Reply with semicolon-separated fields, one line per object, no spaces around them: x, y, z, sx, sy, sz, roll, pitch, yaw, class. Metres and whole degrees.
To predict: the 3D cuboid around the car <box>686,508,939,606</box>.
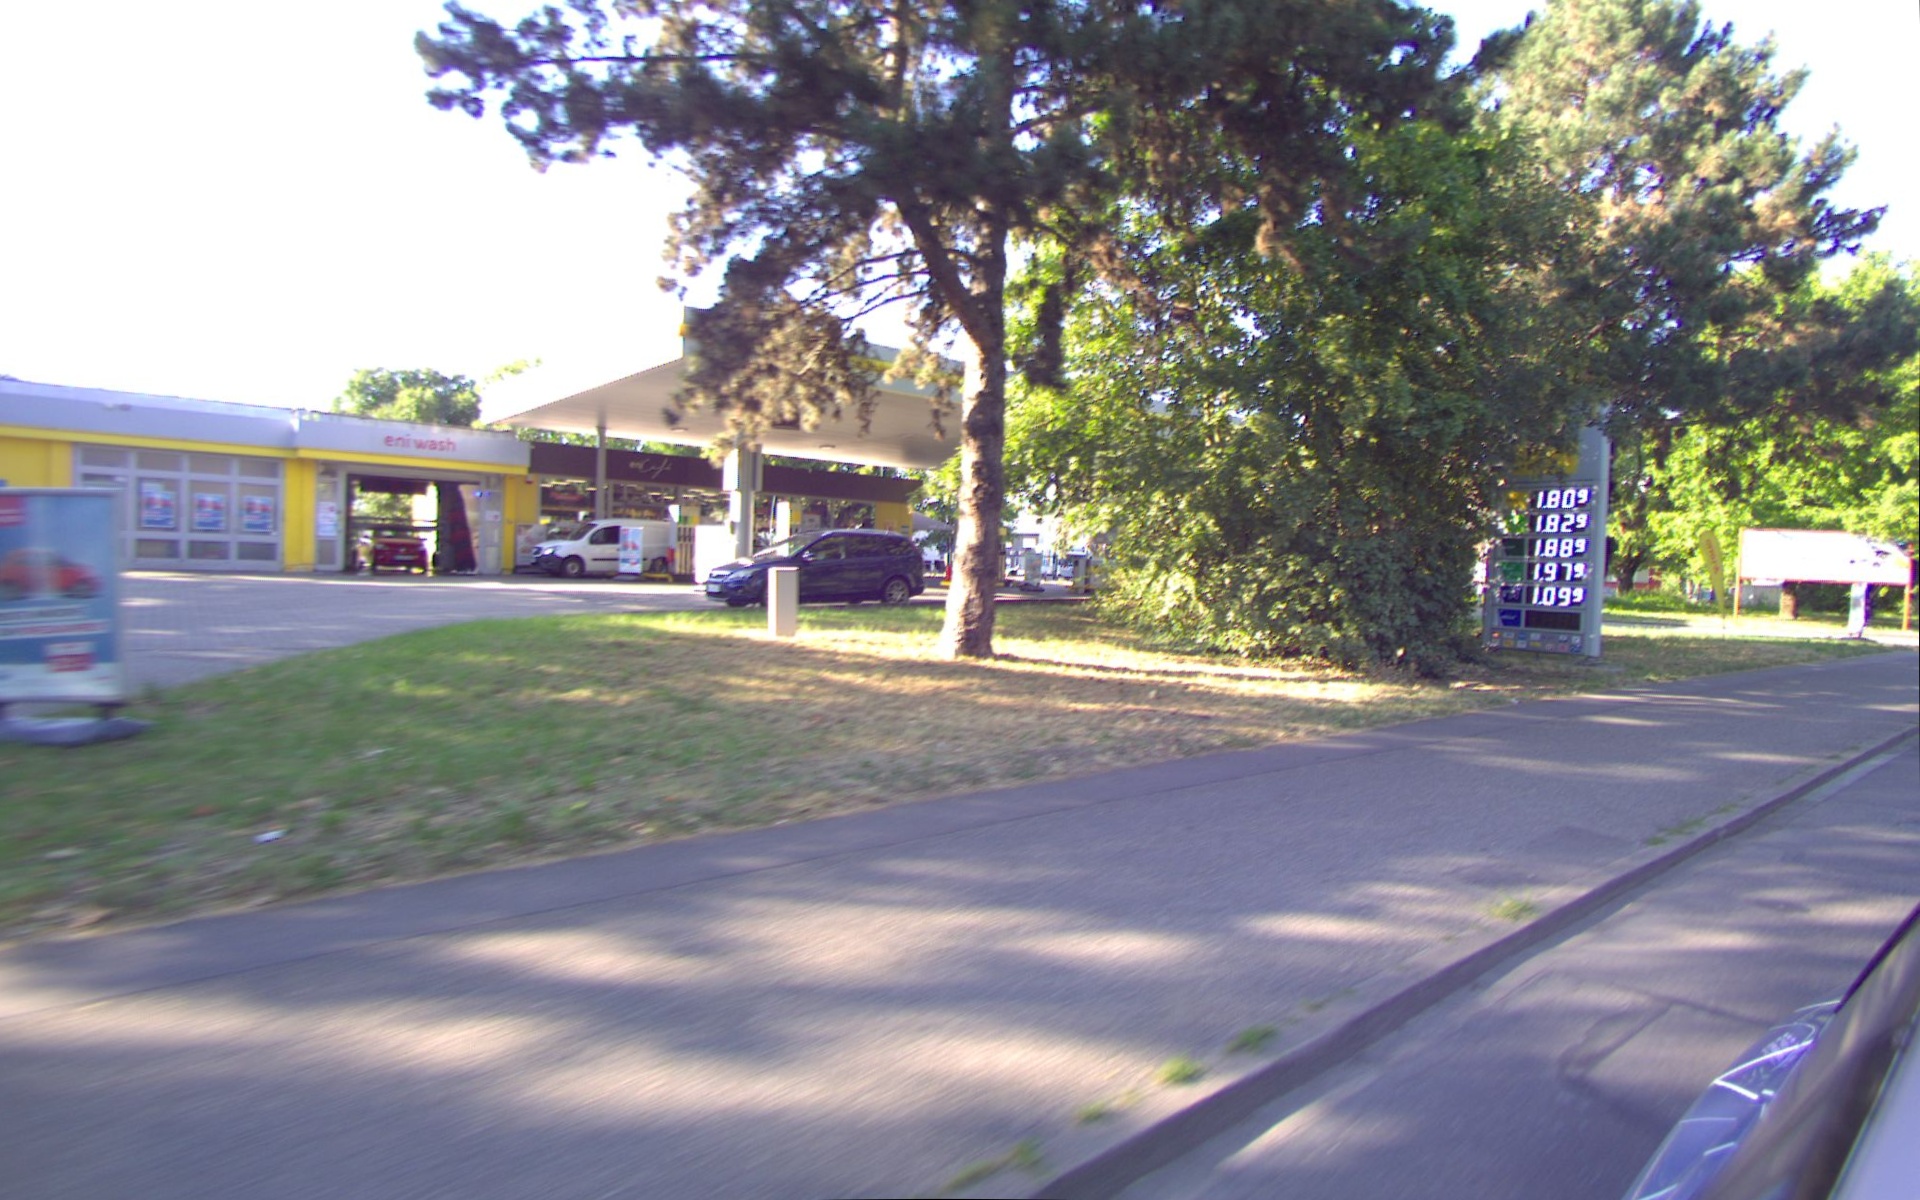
-2.733;-0.777;19.306;4.395;1.667;1.929;0;3;-40;car

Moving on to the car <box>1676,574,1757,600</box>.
51.166;-0.892;68.535;1.961;1.613;4.449;1;1;-3;car

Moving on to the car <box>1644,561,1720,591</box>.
48.811;-1.643;68.549;1.673;1.840;4.451;2;3;-3;car

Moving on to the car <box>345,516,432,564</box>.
-18.149;-1.912;32.054;1.853;1.389;3.999;0;4;-38;car

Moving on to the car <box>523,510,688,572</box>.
-10.604;-1.760;30.401;4.318;1.748;1.818;-1;4;-38;car
